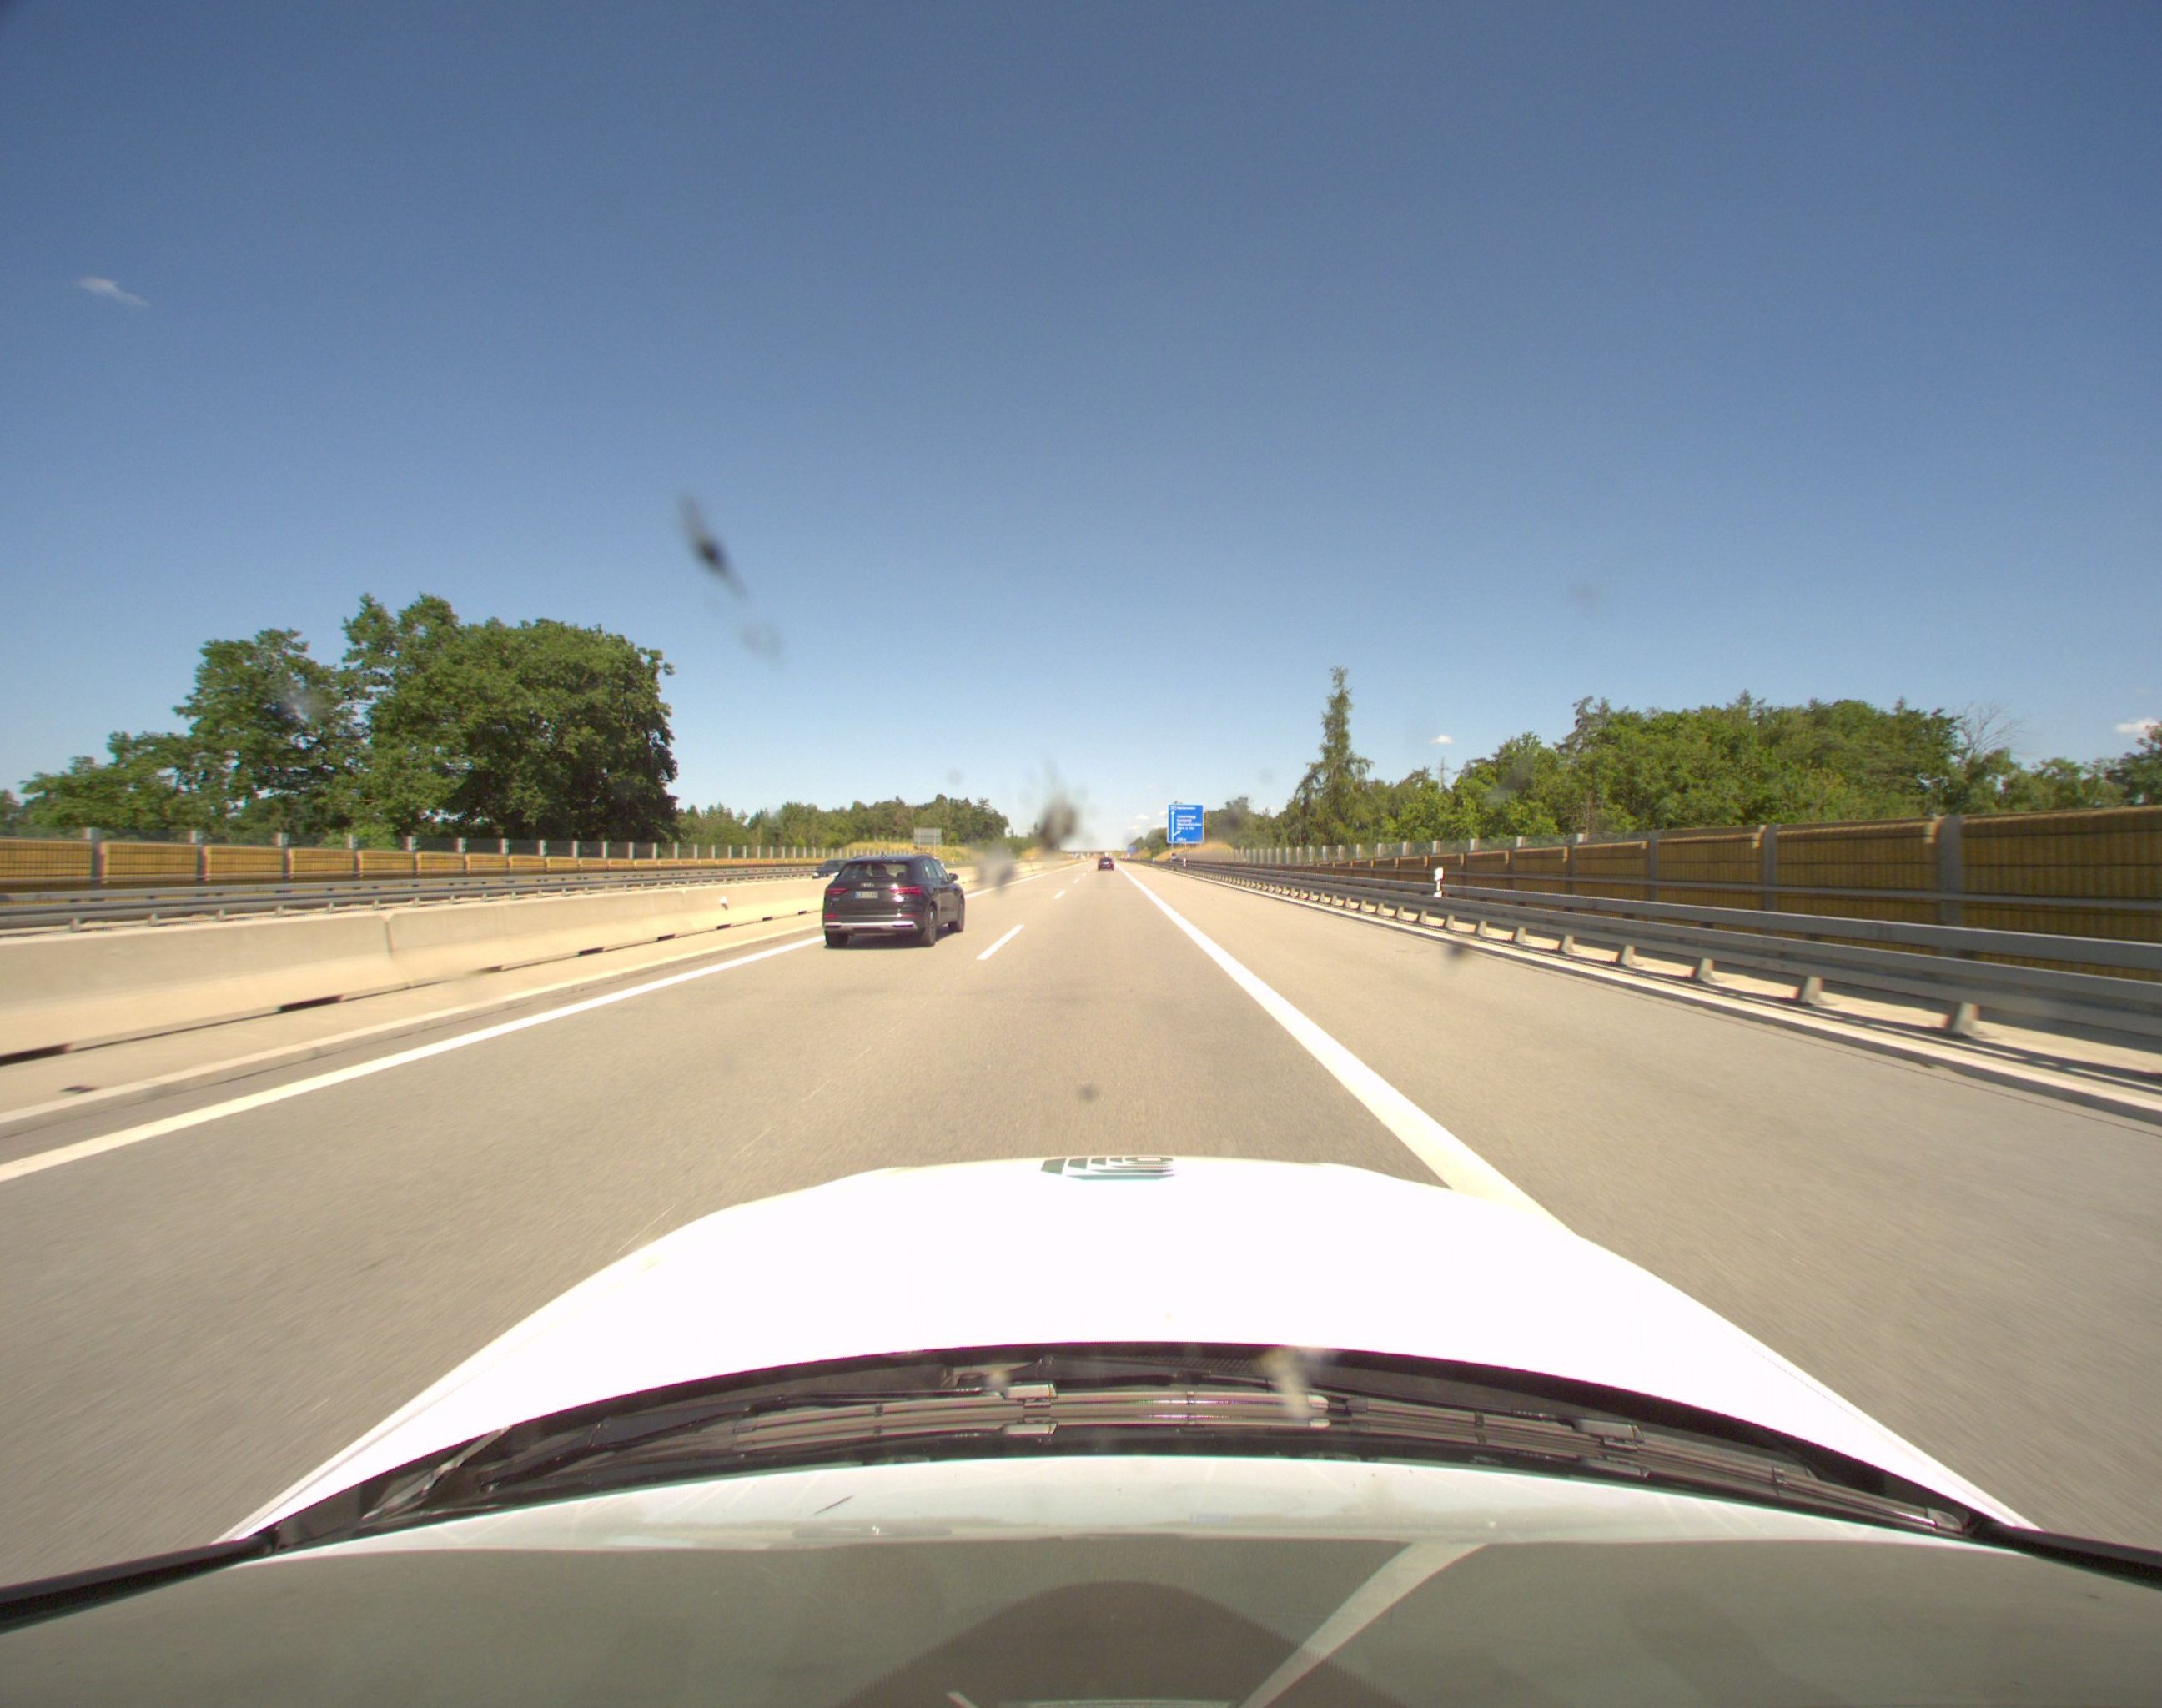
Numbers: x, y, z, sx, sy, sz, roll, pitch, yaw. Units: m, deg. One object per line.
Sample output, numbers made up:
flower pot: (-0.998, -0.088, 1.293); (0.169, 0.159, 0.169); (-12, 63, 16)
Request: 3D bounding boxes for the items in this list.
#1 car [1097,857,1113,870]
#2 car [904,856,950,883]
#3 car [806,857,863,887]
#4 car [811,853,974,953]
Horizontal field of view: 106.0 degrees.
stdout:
car: (2.648, 1.069, 89.206); (1.783, 1.374, 3.919); (0, 0, 2)
car: (-9.008, 0.863, 48.019); (1.721, 1.502, 4.626); (-1, 0, 1)
car: (-12.889, 0.911, 42.841); (1.574, 1.458, 4.451); (-1, 0, 1)
car: (-3.347, 0.787, 15.599); (1.715, 1.587, 5.225); (-1, 0, 2)
